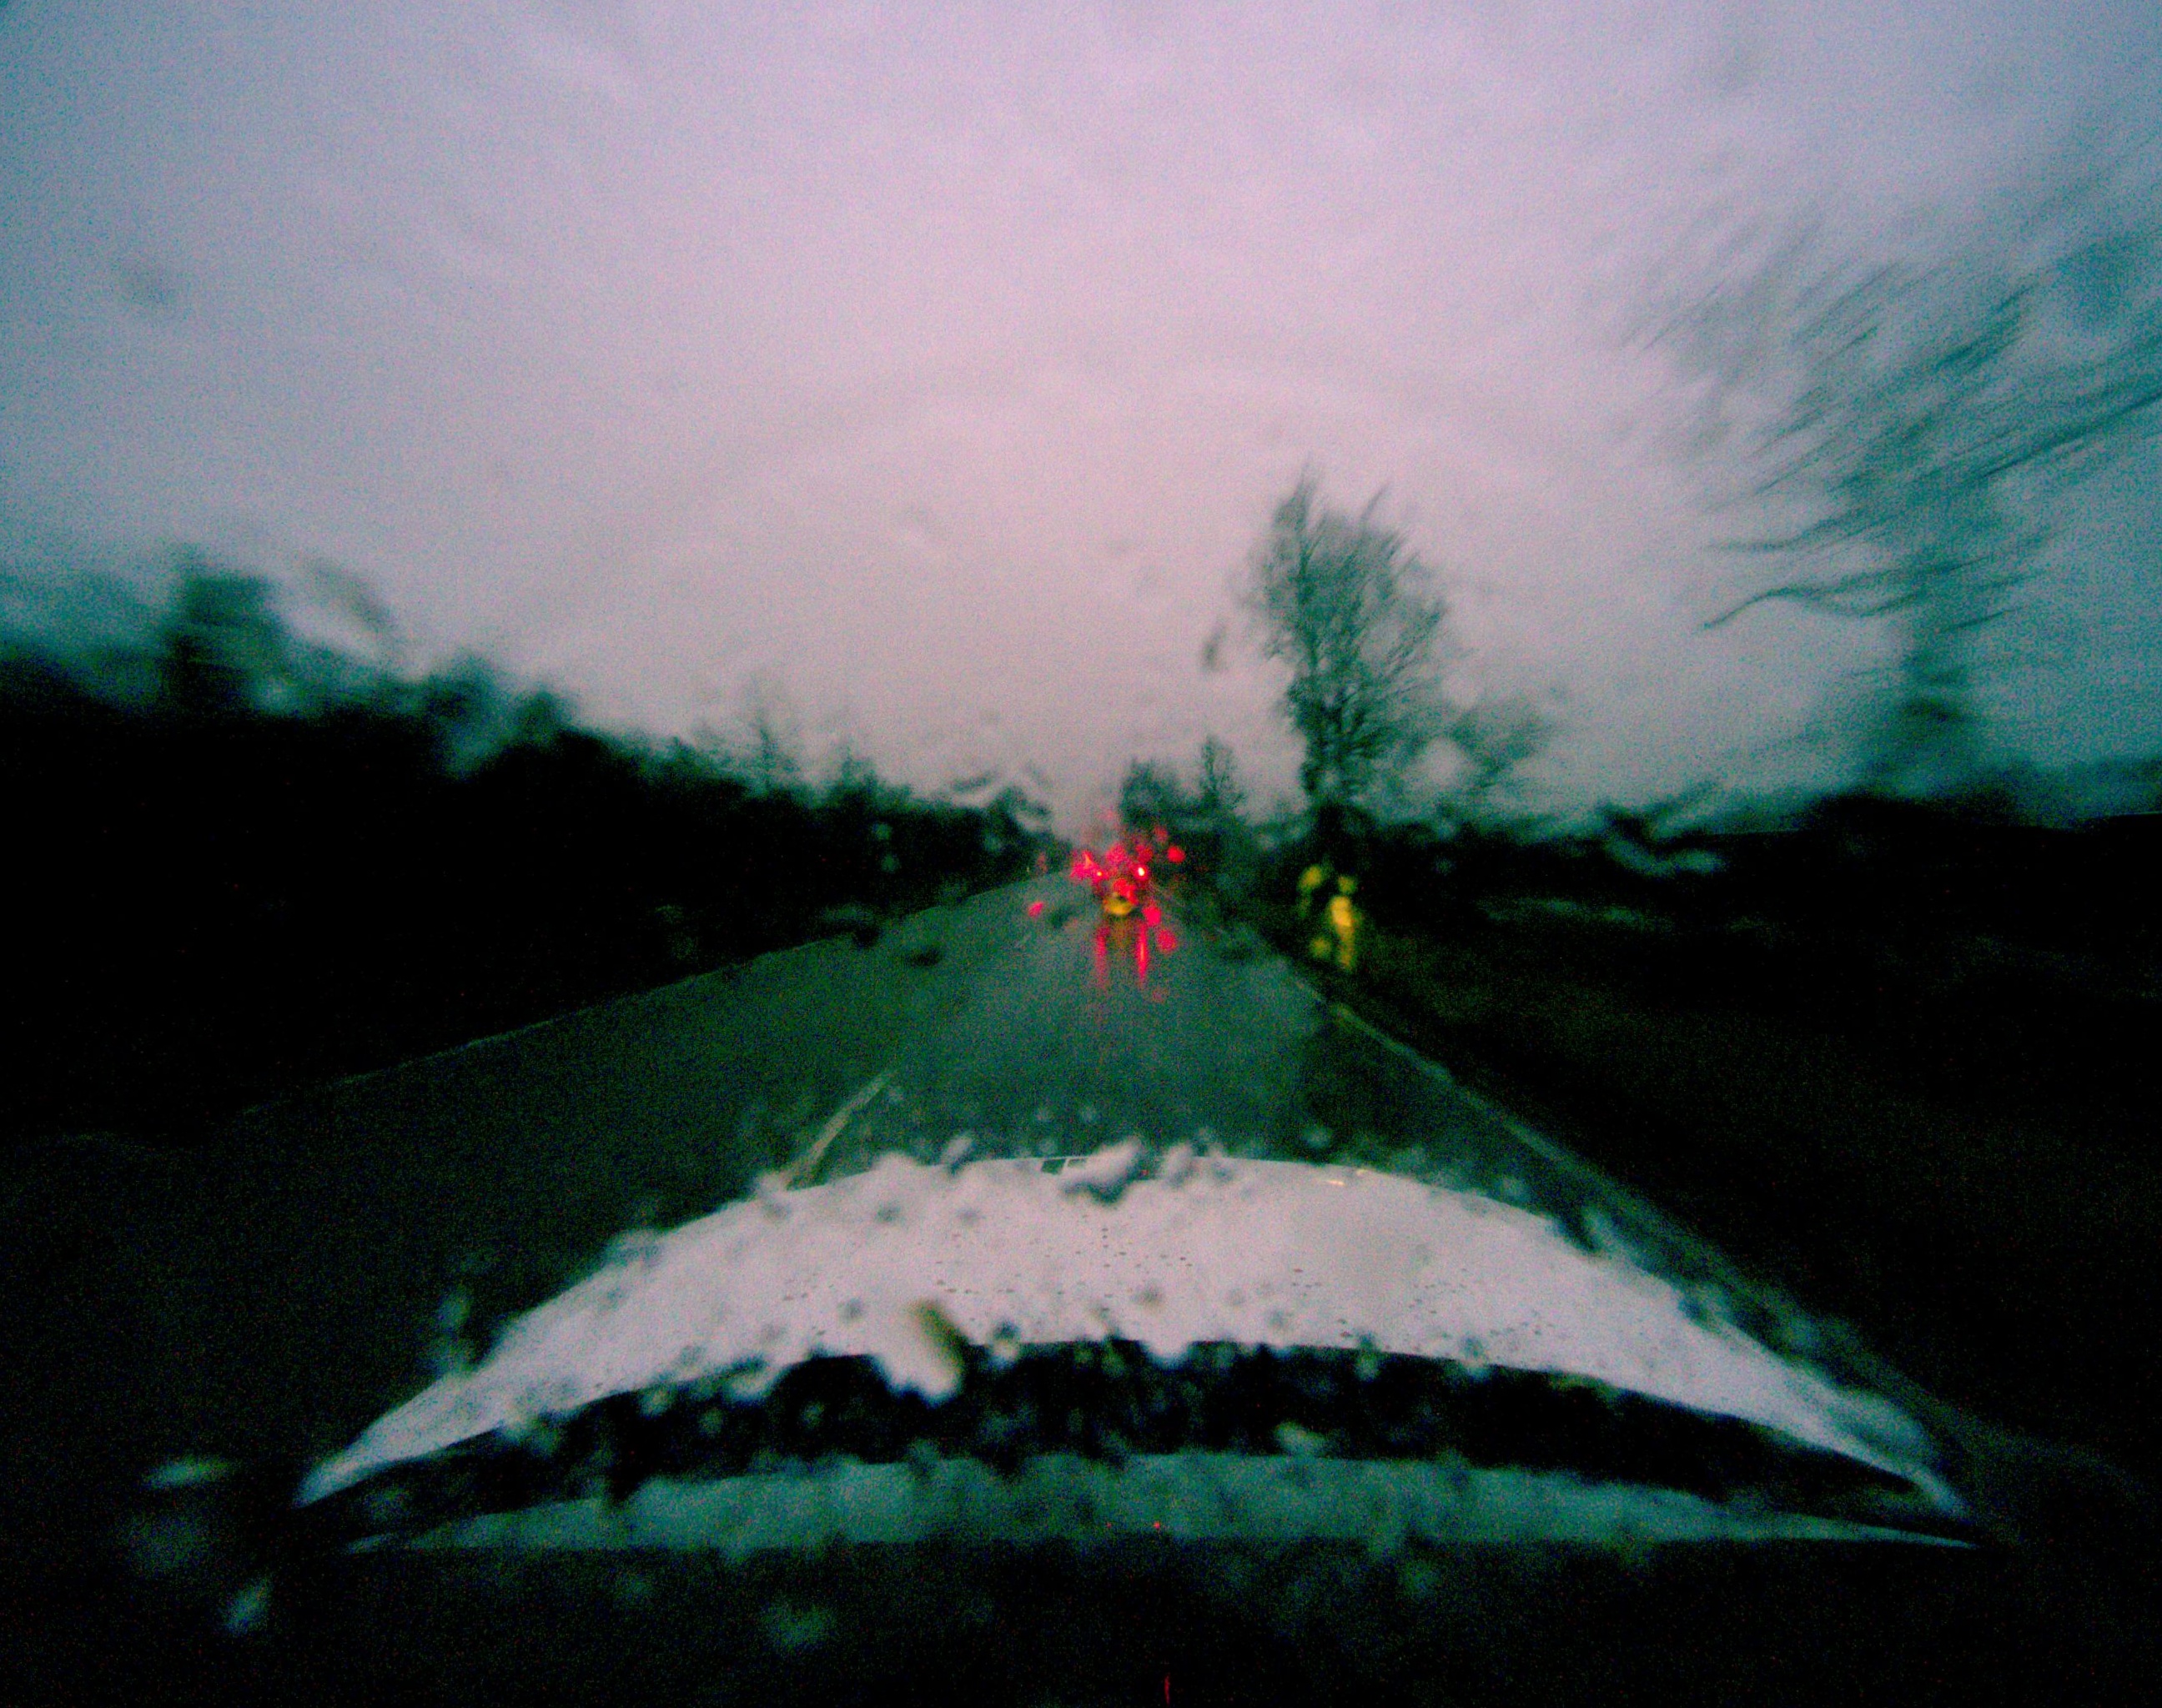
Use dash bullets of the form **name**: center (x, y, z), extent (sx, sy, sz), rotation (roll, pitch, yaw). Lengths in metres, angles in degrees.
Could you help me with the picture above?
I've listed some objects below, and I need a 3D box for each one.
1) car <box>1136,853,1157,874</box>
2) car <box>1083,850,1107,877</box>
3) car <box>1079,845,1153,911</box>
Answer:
- **car**: center (5.147, 0.716, 64.077), extent (1.556, 1.591, 3.493), rotation (0, 0, 5)
- **car**: center (1.068, 0.652, 59.190), extent (1.568, 1.875, 3.712), rotation (0, 0, 3)
- **car**: center (1.078, 0.649, 24.219), extent (1.985, 1.784, 4.004), rotation (0, 0, 3)
